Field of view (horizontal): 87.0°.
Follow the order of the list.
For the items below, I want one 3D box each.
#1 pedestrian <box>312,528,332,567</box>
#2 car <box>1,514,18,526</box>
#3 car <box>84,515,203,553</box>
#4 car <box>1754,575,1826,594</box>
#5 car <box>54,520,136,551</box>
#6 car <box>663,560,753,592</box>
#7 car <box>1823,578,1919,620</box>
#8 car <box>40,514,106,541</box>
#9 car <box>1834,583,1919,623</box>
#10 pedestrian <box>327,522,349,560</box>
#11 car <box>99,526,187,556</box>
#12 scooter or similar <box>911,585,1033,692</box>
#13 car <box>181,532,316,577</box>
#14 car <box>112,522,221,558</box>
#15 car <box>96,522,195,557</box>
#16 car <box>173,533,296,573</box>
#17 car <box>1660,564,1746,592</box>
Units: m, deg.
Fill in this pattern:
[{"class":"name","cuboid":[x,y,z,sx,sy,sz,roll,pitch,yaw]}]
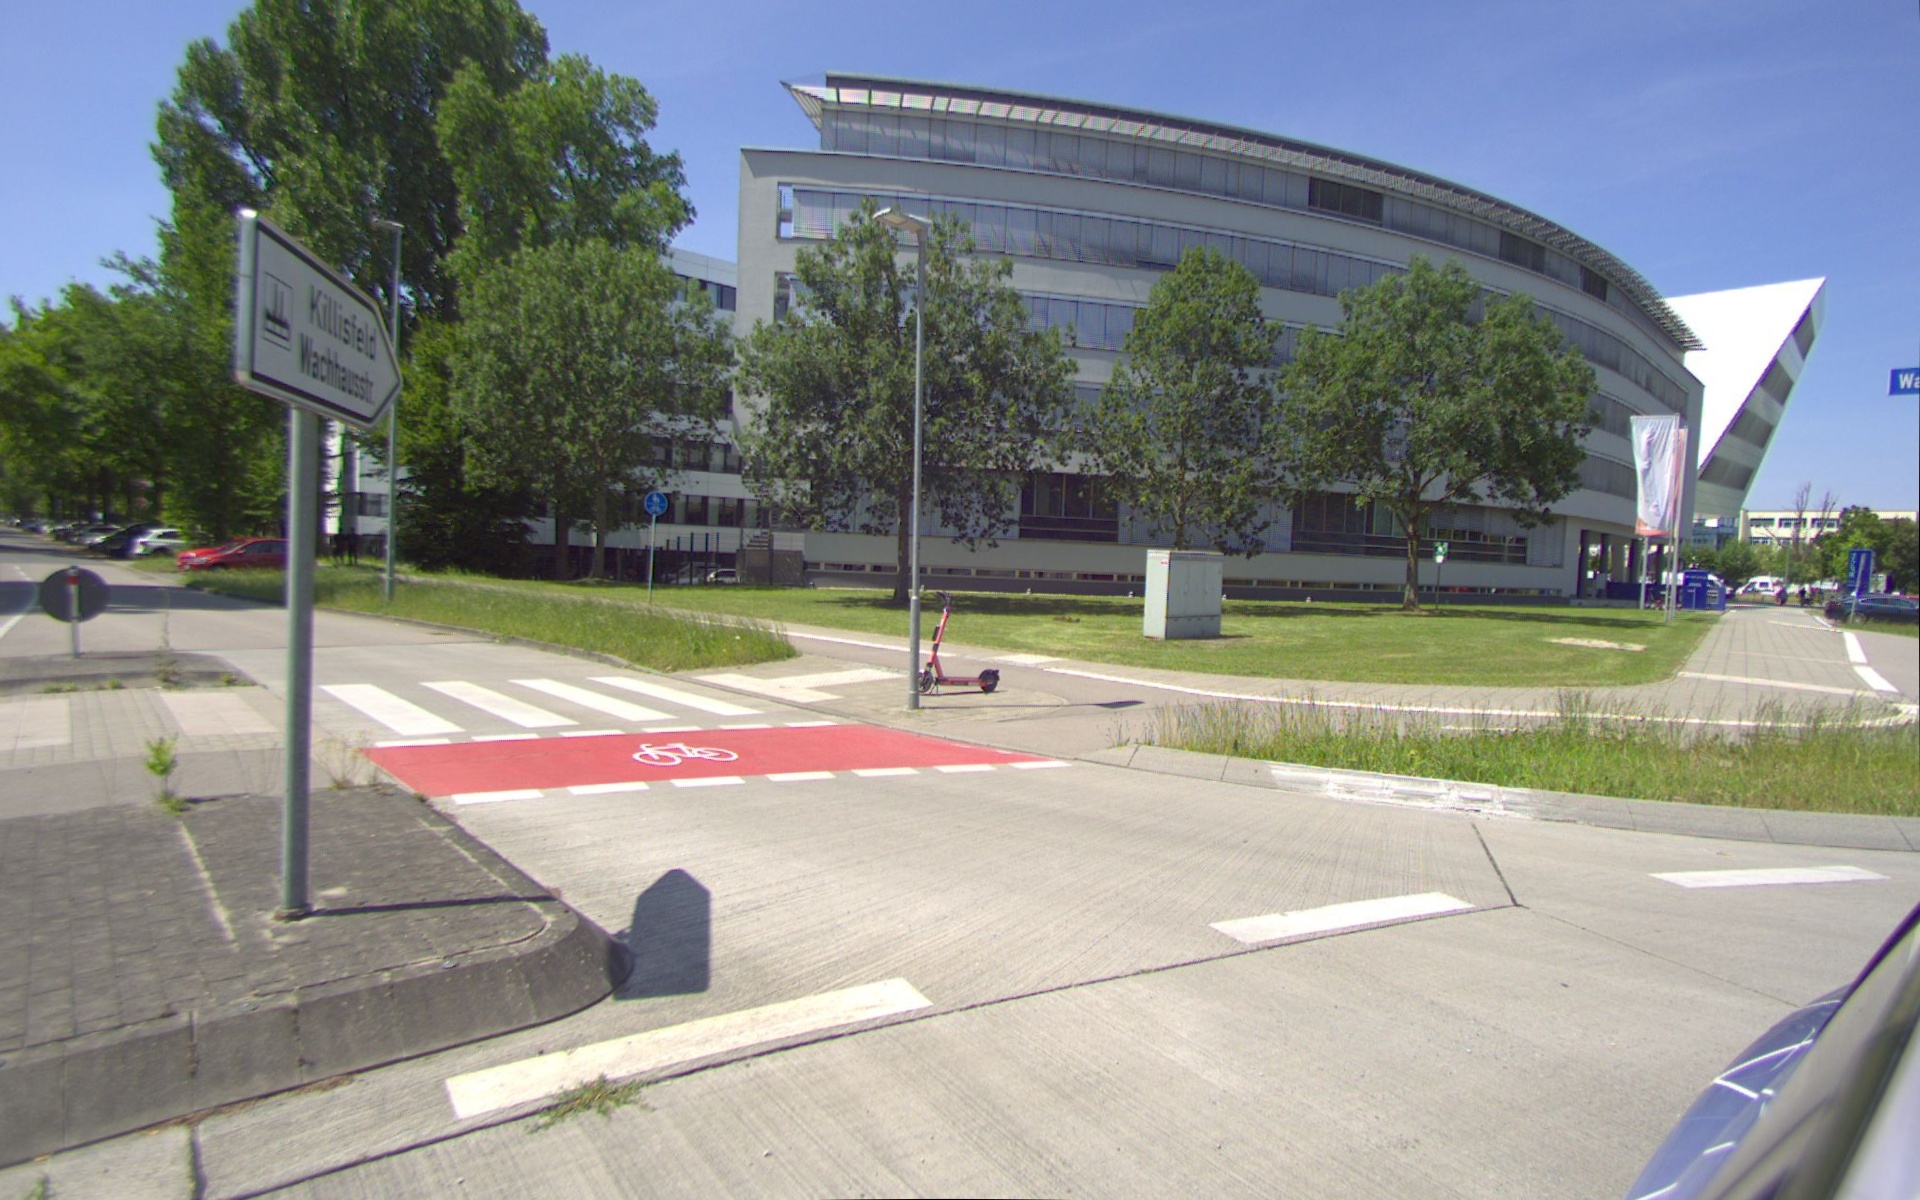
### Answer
[{"class":"pedestrian","cuboid":[-27.250,-2.228,43.229,0.482,1.636,0.581,2,2,32]},{"class":"car","cuboid":[-153.844,-12.923,163.849,1.807,1.838,3.739,-1,3,-40]},{"class":"car","cuboid":[-47.467,-3.788,58.916,1.755,2.009,5.231,3,3,44]},{"class":"car","cuboid":[101.194,-1.909,123.429,2.129,2.176,6.487,-1,3,-43]},{"class":"car","cuboid":[-56.954,-4.218,66.660,1.679,1.895,3.939,3,3,42]},{"class":"car","cuboid":[-13.228,-1.296,53.369,1.849,1.588,4.287,3,3,44]},{"class":"car","cuboid":[42.277,-0.065,46.424,3.987,1.675,1.811,5,4,42]},{"class":"car","cuboid":[-68.150,-5.553,77.786,1.643,1.905,3.736,3,3,44]},{"class":"car","cuboid":[40.962,0.211,43.793,4.563,1.448,1.802,7,5,39]},{"class":"pedestrian","cuboid":[-26.913,-2.566,43.779,0.639,1.628,0.566,2,2,31]},{"class":"car","cuboid":[-46.274,-3.332,57.370,1.755,1.588,3.715,3,3,44]},{"class":"scooter or similar","cuboid":[0.147,0.445,12.171,1.369,1.216,0.449,0,2,-22]},{"class":"car","cuboid":[-25.404,-1.615,36.213,1.861,1.501,3.631,3,3,40]},{"class":"car","cuboid":[-36.324,-2.733,46.392,1.808,1.535,3.727,3,3,44]},{"class":"car","cuboid":[-43.014,-3.181,53.481,1.755,1.727,3.936,3,3,44]},{"class":"car","cuboid":[-28.565,-1.835,39.902,1.861,1.501,3.631,3,3,40]},{"class":"car","cuboid":[78.557,-2.383,107.081,2.216,2.695,6.961,-1,3,-41]}]
